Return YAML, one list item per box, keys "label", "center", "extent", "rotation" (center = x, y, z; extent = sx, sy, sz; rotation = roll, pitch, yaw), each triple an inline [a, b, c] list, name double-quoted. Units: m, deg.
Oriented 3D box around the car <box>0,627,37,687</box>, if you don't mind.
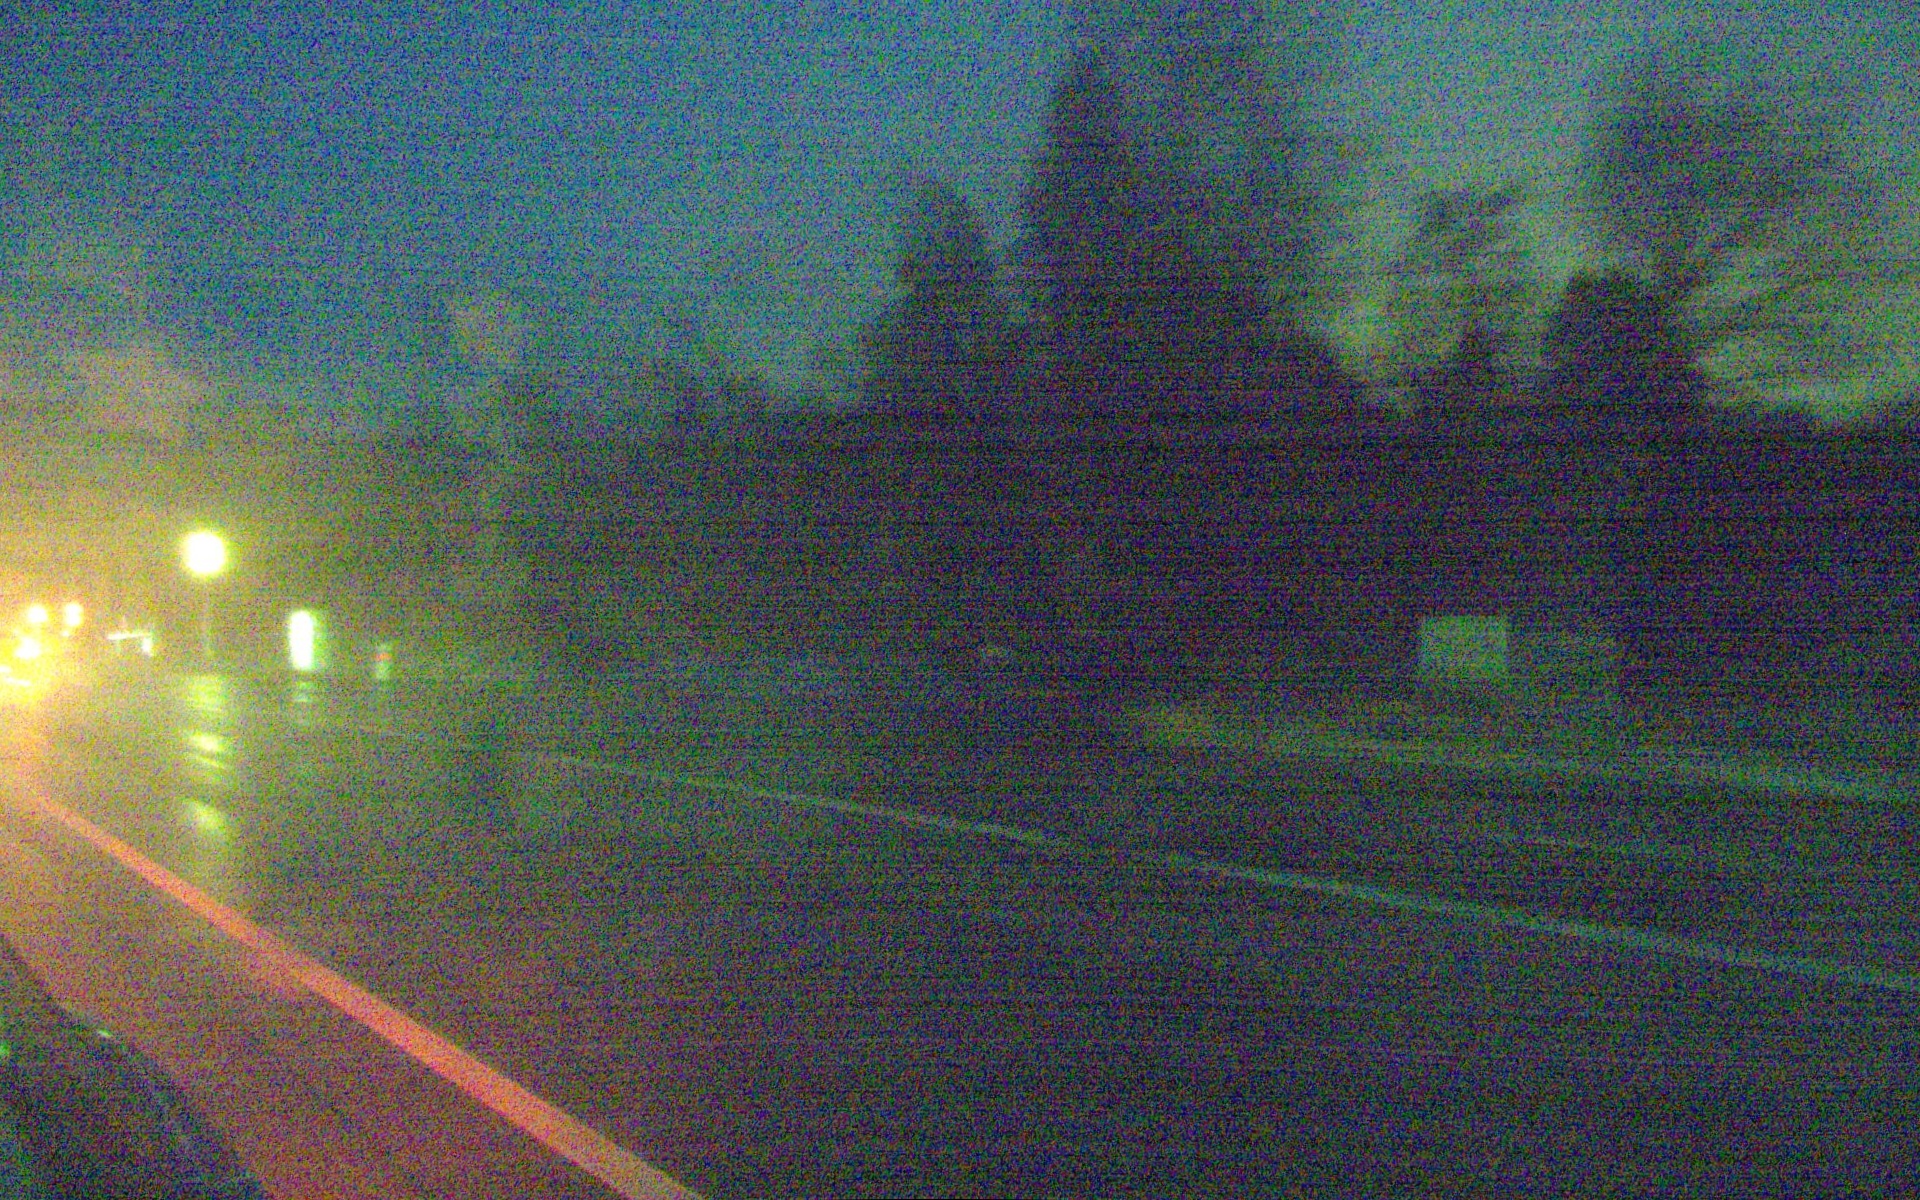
- label: "car"
  center: [-26.303, 1.527, 27.226]
  extent: [3.776, 1.510, 1.971]
  rotation: [-2, -1, 44]
